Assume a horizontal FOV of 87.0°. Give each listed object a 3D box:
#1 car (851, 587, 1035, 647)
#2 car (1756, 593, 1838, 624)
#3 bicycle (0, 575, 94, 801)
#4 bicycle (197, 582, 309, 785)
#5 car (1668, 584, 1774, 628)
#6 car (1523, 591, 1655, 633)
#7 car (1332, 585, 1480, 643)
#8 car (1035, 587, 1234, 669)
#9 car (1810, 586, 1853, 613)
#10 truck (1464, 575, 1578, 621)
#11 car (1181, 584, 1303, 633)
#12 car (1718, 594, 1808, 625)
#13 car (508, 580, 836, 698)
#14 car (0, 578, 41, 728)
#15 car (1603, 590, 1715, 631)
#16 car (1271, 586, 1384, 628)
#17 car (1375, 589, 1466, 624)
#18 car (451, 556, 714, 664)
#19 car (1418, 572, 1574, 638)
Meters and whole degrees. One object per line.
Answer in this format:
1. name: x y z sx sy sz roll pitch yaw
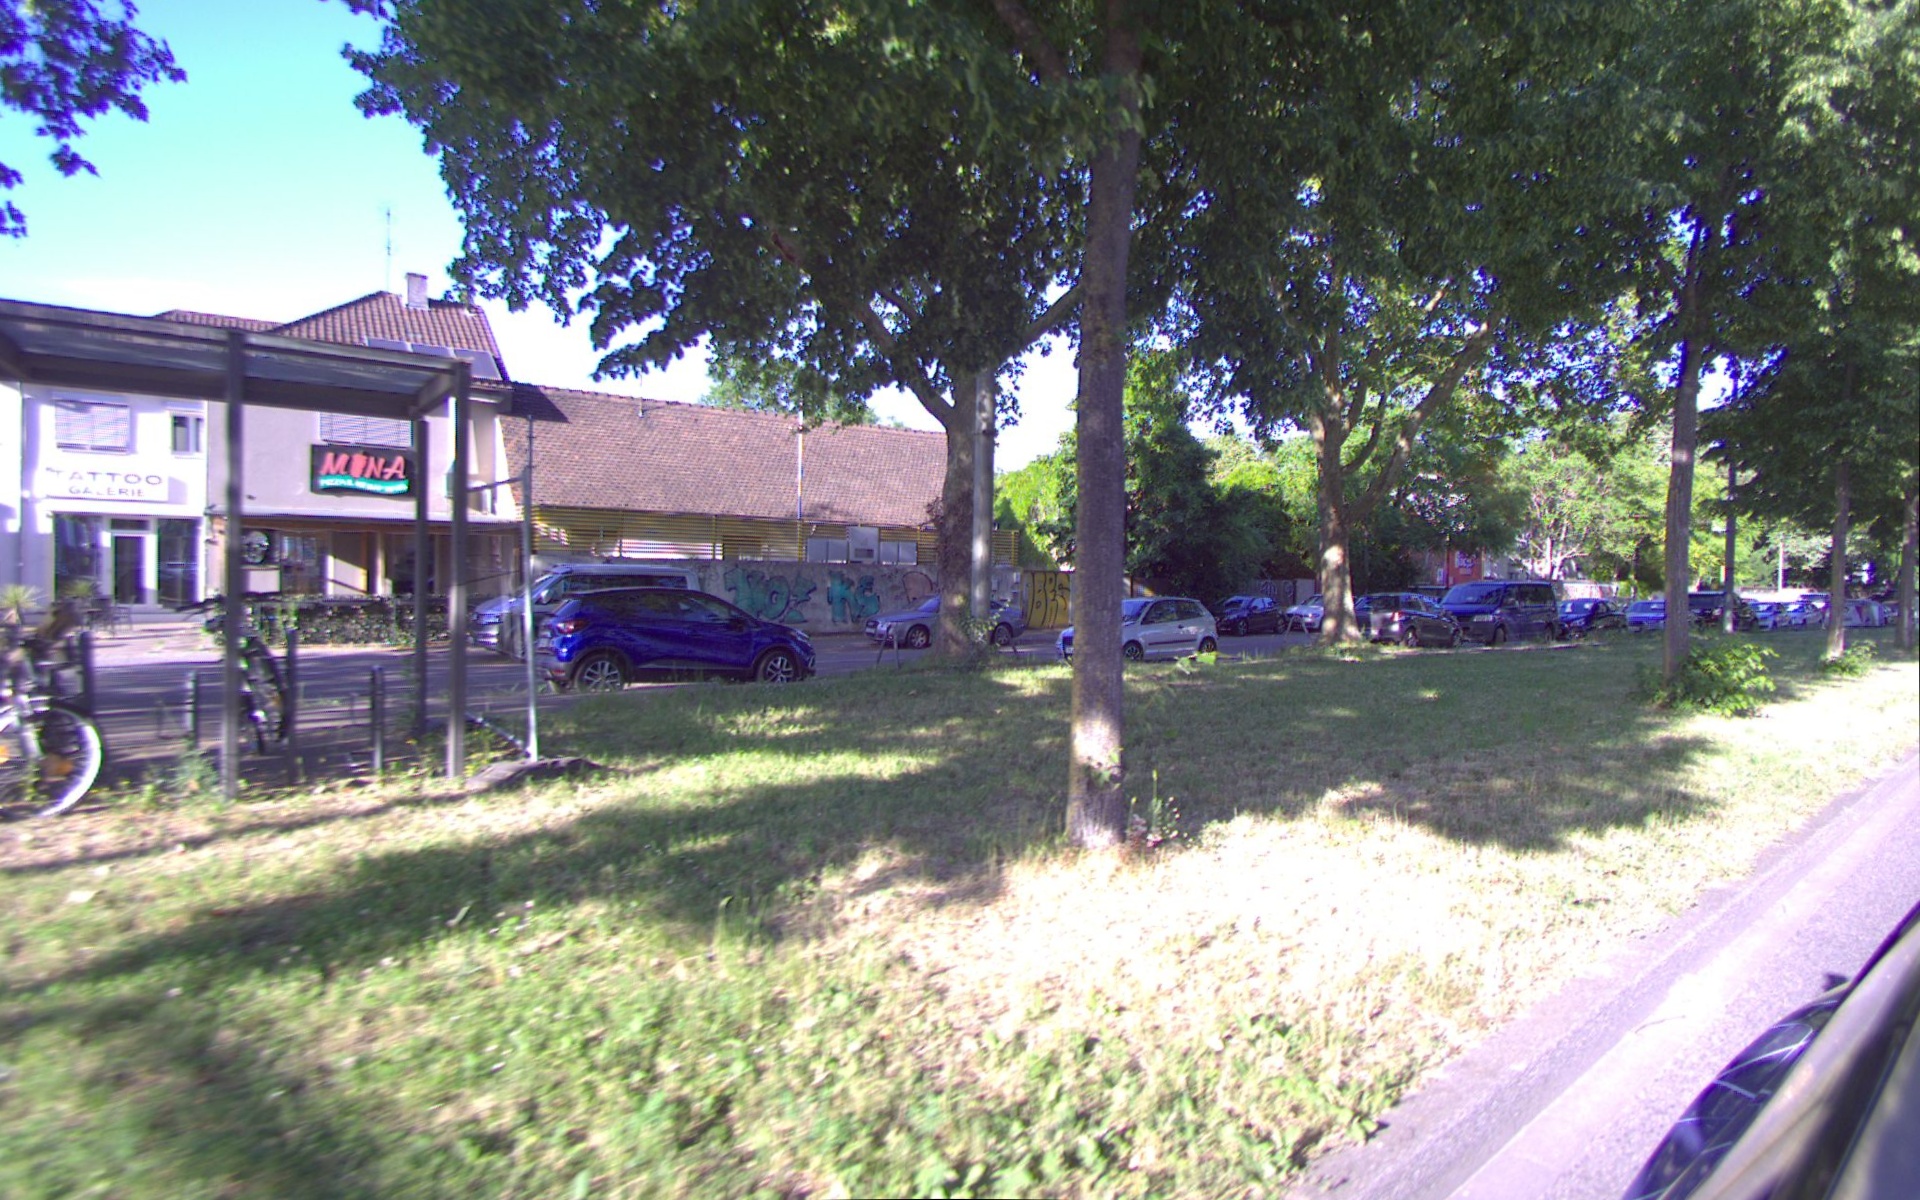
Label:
1. car: -0.405 0.421 27.783 4.820 1.504 1.900 0 0 -35
2. car: 38.357 0.378 46.338 4.463 1.332 1.999 0 1 -38
3. bicycle: -5.543 0.452 5.988 0.541 1.184 1.700 0 0 -38
4. bicycle: -4.751 0.475 6.784 0.541 1.184 1.808 0 0 -36
5. car: 29.850 0.219 39.657 4.565 1.616 2.000 0 0 -34
6. car: 20.180 0.355 32.410 4.566 1.265 2.000 0 1 -36
7. car: 11.528 0.318 26.085 3.843 1.398 1.943 0 1 -39
8. car: 3.603 0.505 20.584 3.978 1.504 1.897 0 0 -40
9. car: 68.909 -0.045 80.002 3.928 2.039 1.998 0 0 -39
10. truck: 27.138 -0.093 48.871 6.459 2.101 2.455 0 0 -37
11. car: 10.173 0.274 36.323 4.573 1.548 1.998 0 3 -41
12. car: 34.093 0.376 42.946 4.036 1.226 2.000 0 1 -36
13. car: -4.160 0.483 14.893 4.264 1.507 1.900 0 0 -36
14. car: -11.334 0.492 9.168 4.265 1.429 1.899 0 0 -37
15. car: 25.358 0.351 36.648 4.776 1.380 1.999 0 1 -38
16. car: 14.439 0.255 39.681 4.568 1.548 1.999 0 0 -37
17. car: 19.753 0.244 43.356 4.094 1.420 1.796 0 0 -37
18. car: -8.062 0.168 21.876 4.978 2.061 1.899 0 2 -38
19. car: 15.491 0.121 29.154 4.927 1.764 2.039 0 0 -36
